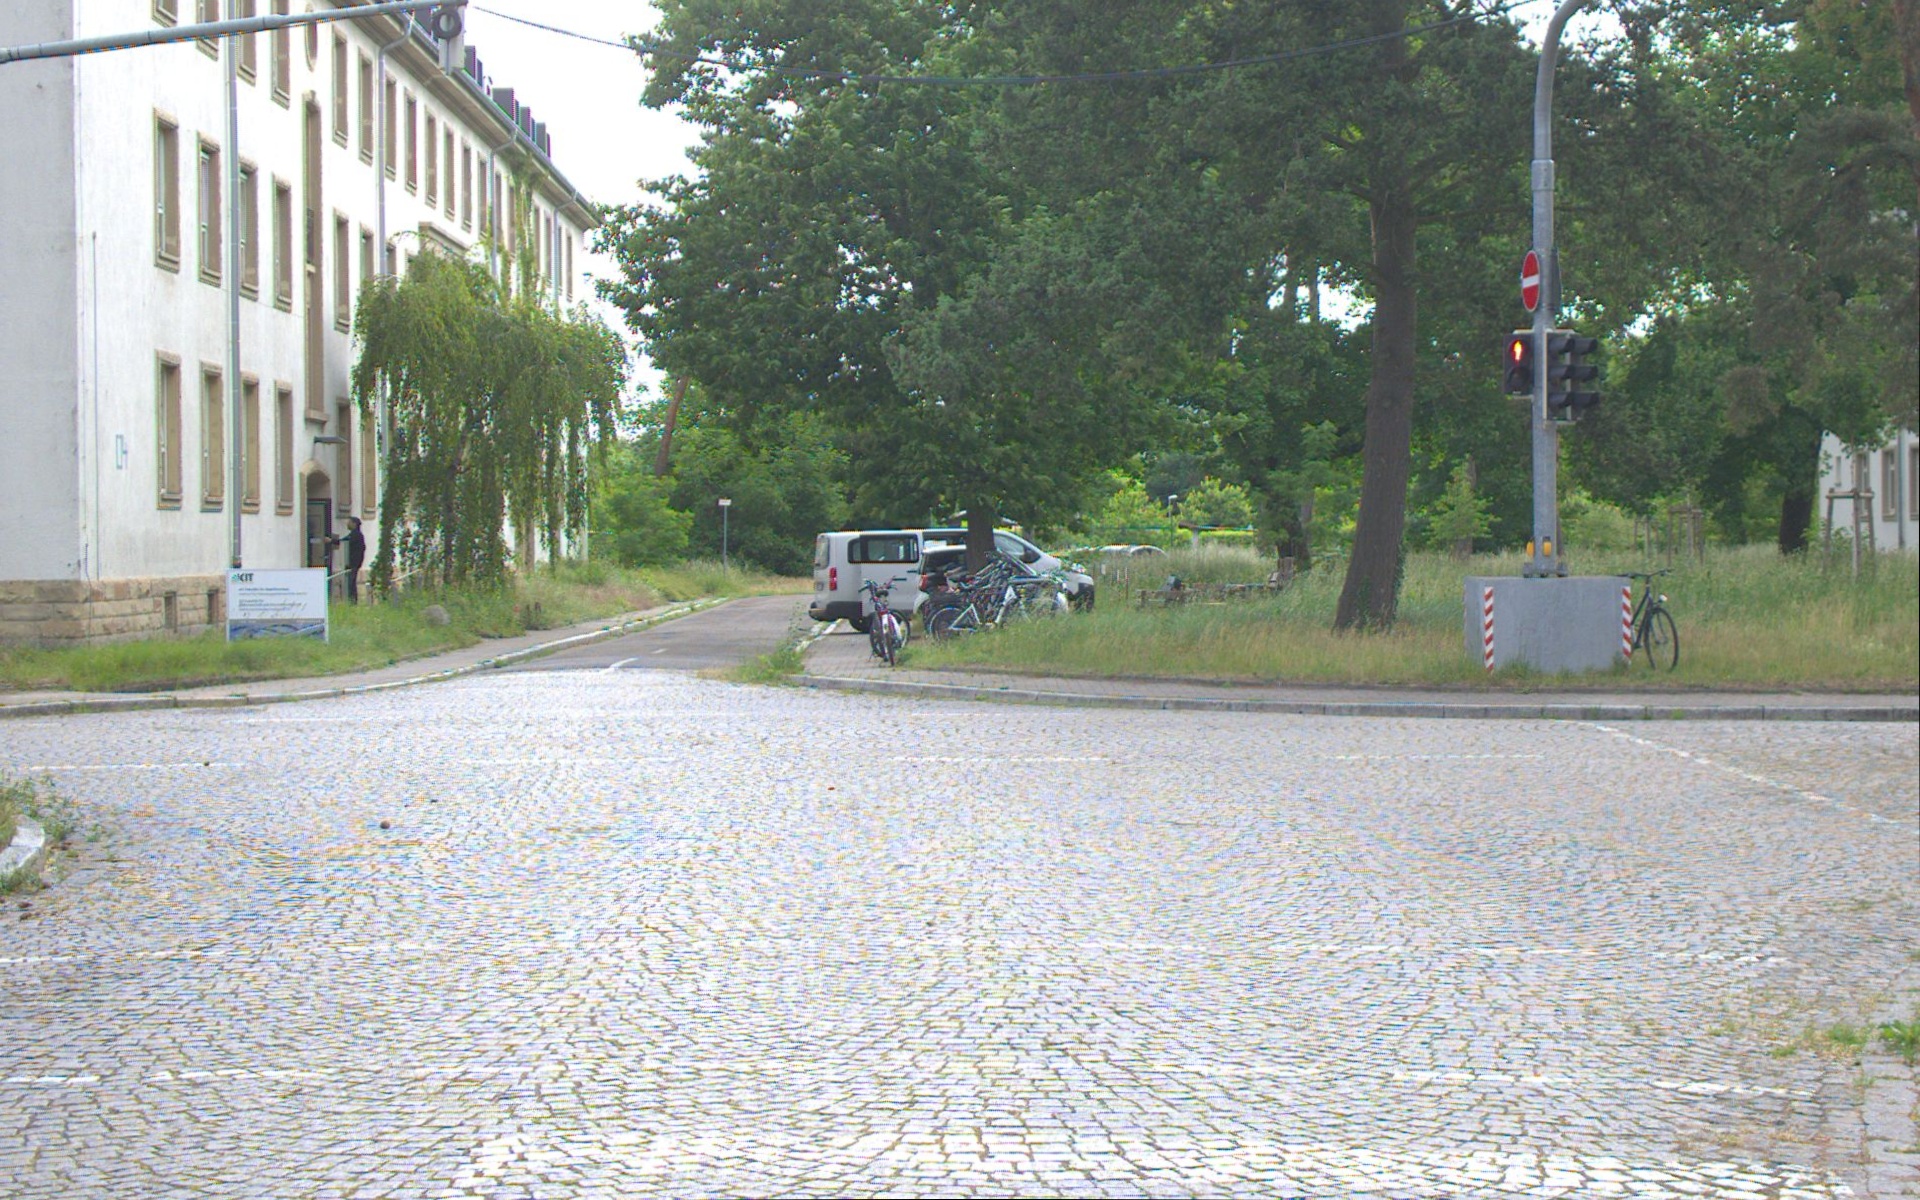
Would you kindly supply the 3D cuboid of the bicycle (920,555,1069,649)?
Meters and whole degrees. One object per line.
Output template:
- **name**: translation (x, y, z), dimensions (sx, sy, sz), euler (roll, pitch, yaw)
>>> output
- **bicycle**: translation (0.459, 0.030, 46.712), dimensions (1.982, 1.243, 0.624), euler (1, 0, -2)

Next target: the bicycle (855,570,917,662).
- **bicycle**: translation (-0.909, 0.181, 42.709), dimensions (0.622, 1.110, 1.989), euler (1, 1, 2)

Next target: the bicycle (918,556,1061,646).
- **bicycle**: translation (0.408, 0.012, 48.498), dimensions (1.982, 1.243, 0.624), euler (1, 0, -2)

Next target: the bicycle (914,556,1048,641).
- **bicycle**: translation (0.308, -0.022, 51.742), dimensions (1.982, 1.243, 0.624), euler (1, 0, -2)

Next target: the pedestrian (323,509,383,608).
- **pedestrian**: translation (-10.947, -0.745, 61.994), dimensions (0.837, 1.775, 0.941), euler (0, 1, 5)

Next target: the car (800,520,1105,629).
- **car**: translation (-0.161, -0.493, 64.180), dimensions (5.303, 1.909, 2.150), euler (-1, 1, -15)

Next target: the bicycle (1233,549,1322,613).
- **bicycle**: translation (5.615, -0.339, 60.872), dimensions (1.549, 1.121, 0.401), euler (0, 1, 2)

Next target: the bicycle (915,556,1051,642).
- **bicycle**: translation (0.335, -0.017, 51.248), dimensions (1.982, 1.243, 0.624), euler (1, 0, -2)

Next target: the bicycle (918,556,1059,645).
- **bicycle**: translation (0.401, 0.005, 49.131), dimensions (1.982, 1.243, 0.624), euler (1, 0, -2)

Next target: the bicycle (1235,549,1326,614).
- **bicycle**: translation (5.562, -0.325, 59.641), dimensions (1.549, 1.121, 0.401), euler (0, 1, 2)

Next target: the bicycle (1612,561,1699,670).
- **bicycle**: translation (6.802, 0.140, 33.658), dimensions (0.580, 0.967, 1.678), euler (-2, 3, 4)

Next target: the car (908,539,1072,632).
- **car**: translation (0.511, -0.271, 60.707), dimensions (2.847, 1.552, 1.472), euler (-1, 2, -1)

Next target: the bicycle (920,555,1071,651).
- **bicycle**: translation (0.472, 0.037, 46.083), dimensions (1.982, 1.243, 0.624), euler (1, 0, -2)

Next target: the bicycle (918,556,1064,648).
- **bicycle**: translation (0.426, 0.021, 47.638), dimensions (1.982, 1.243, 0.624), euler (1, 0, -2)

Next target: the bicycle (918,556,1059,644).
- **bicycle**: translation (0.406, 0.000, 49.656), dimensions (1.982, 1.243, 0.624), euler (1, 0, -2)

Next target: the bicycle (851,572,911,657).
- **bicycle**: translation (-1.015, 0.175, 44.664), dimensions (0.622, 1.079, 1.677), euler (1, 1, 4)

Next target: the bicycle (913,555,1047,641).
- **bicycle**: translation (0.294, -0.029, 52.401), dimensions (1.982, 1.243, 0.624), euler (-2, 0, -2)
